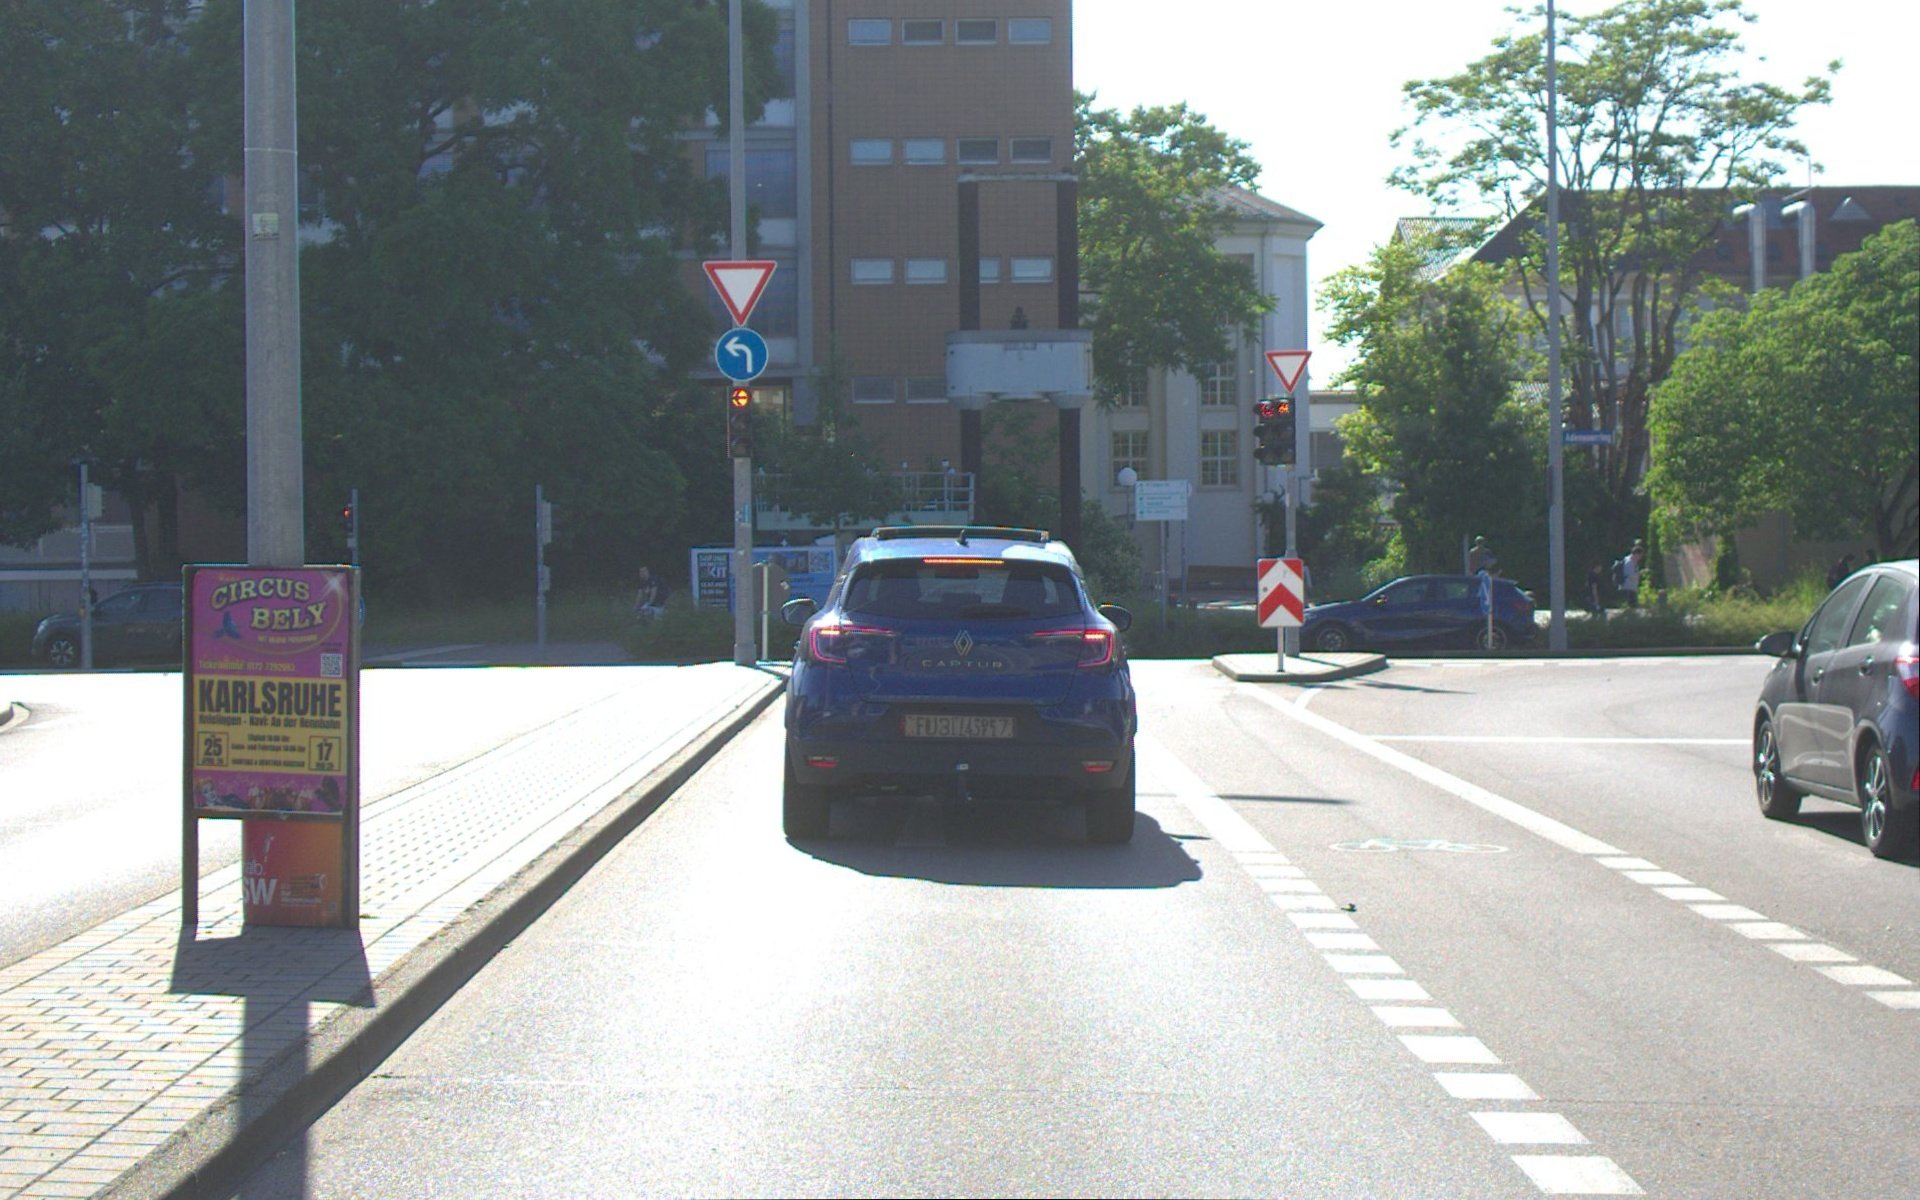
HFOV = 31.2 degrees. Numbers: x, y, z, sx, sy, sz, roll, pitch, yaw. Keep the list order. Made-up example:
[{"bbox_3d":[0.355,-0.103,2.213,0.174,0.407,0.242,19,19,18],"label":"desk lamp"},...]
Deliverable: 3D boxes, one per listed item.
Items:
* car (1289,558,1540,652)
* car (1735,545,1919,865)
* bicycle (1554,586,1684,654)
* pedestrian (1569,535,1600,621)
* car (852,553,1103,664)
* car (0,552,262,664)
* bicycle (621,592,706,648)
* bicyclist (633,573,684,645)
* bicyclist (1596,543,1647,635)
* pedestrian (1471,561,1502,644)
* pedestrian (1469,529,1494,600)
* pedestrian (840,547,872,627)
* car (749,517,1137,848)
[{"bbox_3d":[7.772,0.099,58.634,4.117,1.581,1.879,0,-1,12],"label":"car"},{"bbox_3d":[5.324,0.514,18.304,1.756,1.536,3.658,0,0,3],"label":"car"},{"bbox_3d":[13.304,0.411,69.384,2.454,1.366,0.850,0,-1,23],"label":"bicycle"},{"bbox_3d":[12.141,-0.418,66.848,0.556,1.664,0.476,0,-1,15],"label":"pedestrian"},{"bbox_3d":[0.348,0.167,63.320,4.349,2.007,1.999,0,-1,10],"label":"car"},{"bbox_3d":[-15.176,0.161,62.637,4.374,2.007,1.999,0,-1,10],"label":"car"},{"bbox_3d":[-6.043,0.401,70.122,1.666,1.089,0.610,-1,1,-37],"label":"bicycle"},{"bbox_3d":[-6.140,0.173,70.049,0.816,1.439,0.620,-1,1,-36],"label":"bicyclist"},{"bbox_3d":[13.346,-0.214,69.388,0.857,1.840,0.850,0,-1,23],"label":"bicyclist"},{"bbox_3d":[10.538,0.054,68.757,0.560,1.664,0.476,0,-1,15],"label":"pedestrian"},{"bbox_3d":[12.360,-0.844,81.474,0.577,1.664,0.562,0,-1,10],"label":"pedestrian"},{"bbox_3d":[-2.181,-0.275,72.315,0.560,1.664,0.476,0,-1,15],"label":"pedestrian"},{"bbox_3d":[-0.191,0.393,18.620,1.823,1.594,3.659,1,0,-4],"label":"car"}]
